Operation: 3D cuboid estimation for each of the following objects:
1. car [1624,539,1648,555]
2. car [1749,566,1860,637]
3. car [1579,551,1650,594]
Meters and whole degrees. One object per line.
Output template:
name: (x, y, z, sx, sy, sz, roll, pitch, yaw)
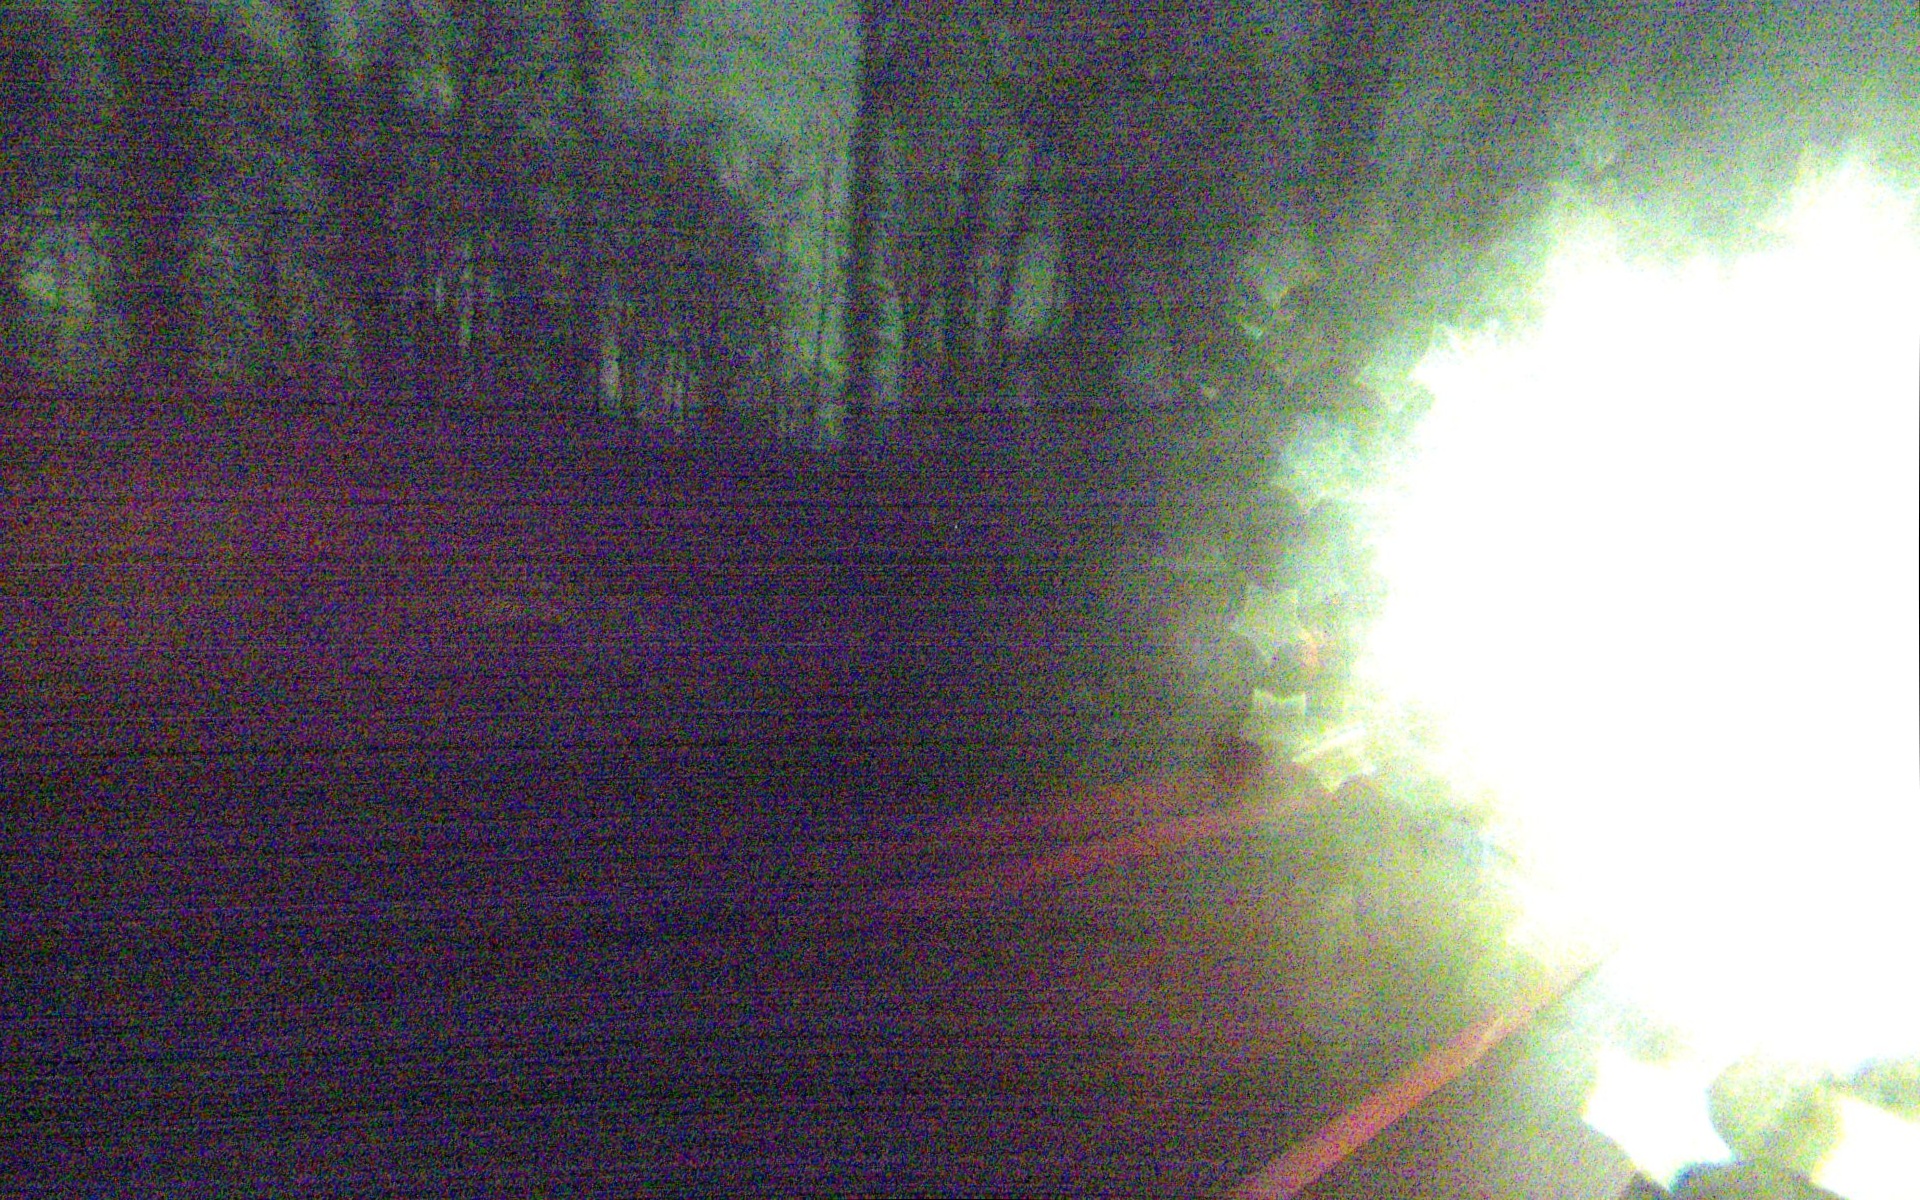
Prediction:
car: (70.191, -5.488, 105.077, 1.776, 1.491, 3.853, 3, 5, 31)
car: (23.824, -0.026, 28.704, 1.881, 1.630, 3.955, 3, 6, 33)
car: (33.928, -1.435, 52.564, 1.973, 2.039, 3.978, -3, 0, 17)
